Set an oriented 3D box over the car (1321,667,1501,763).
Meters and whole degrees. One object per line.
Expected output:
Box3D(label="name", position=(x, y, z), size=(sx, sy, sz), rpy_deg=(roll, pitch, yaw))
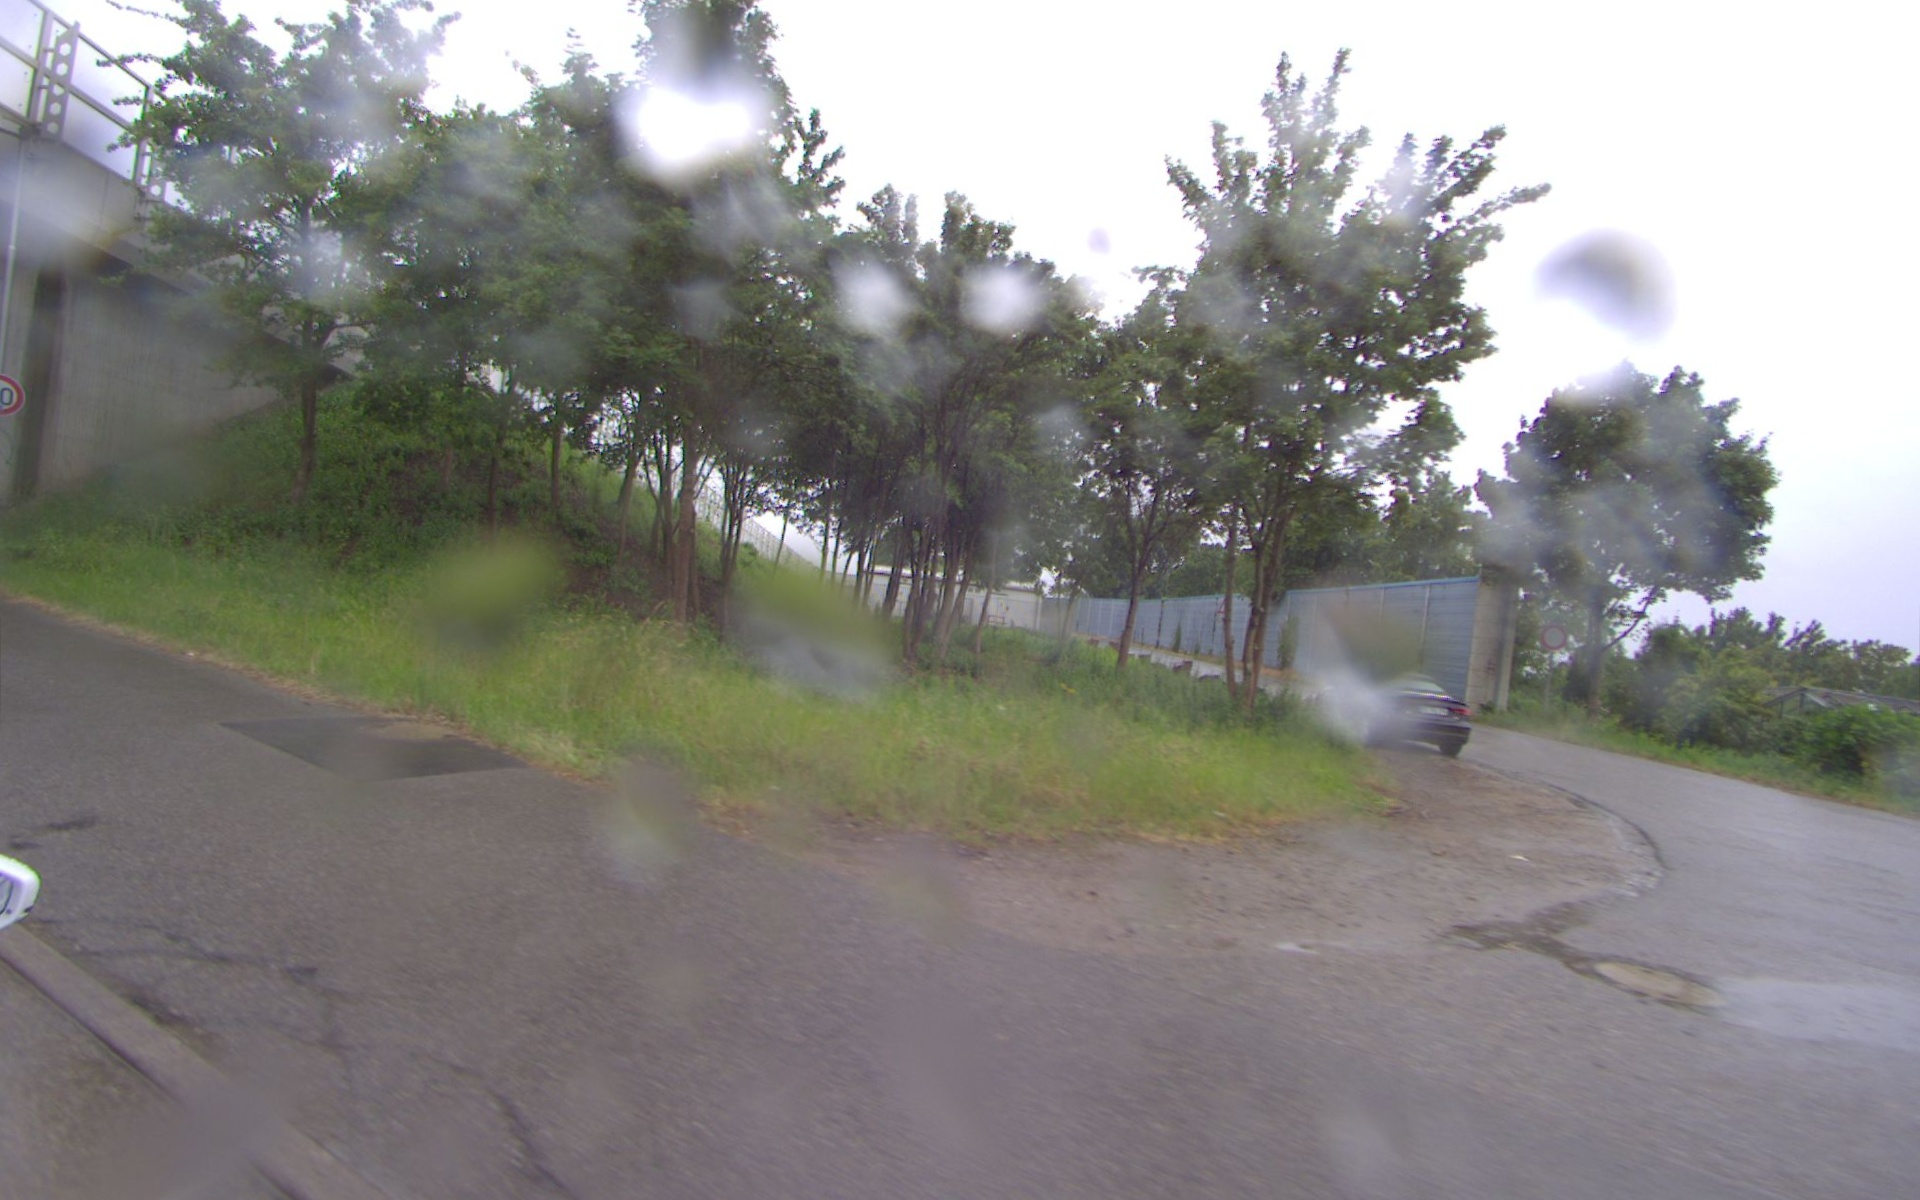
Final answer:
Box3D(label="car", position=(8.477, 2.107, 19.343), size=(1.869, 1.374, 4.118), rpy_deg=(8, -3, 7))
